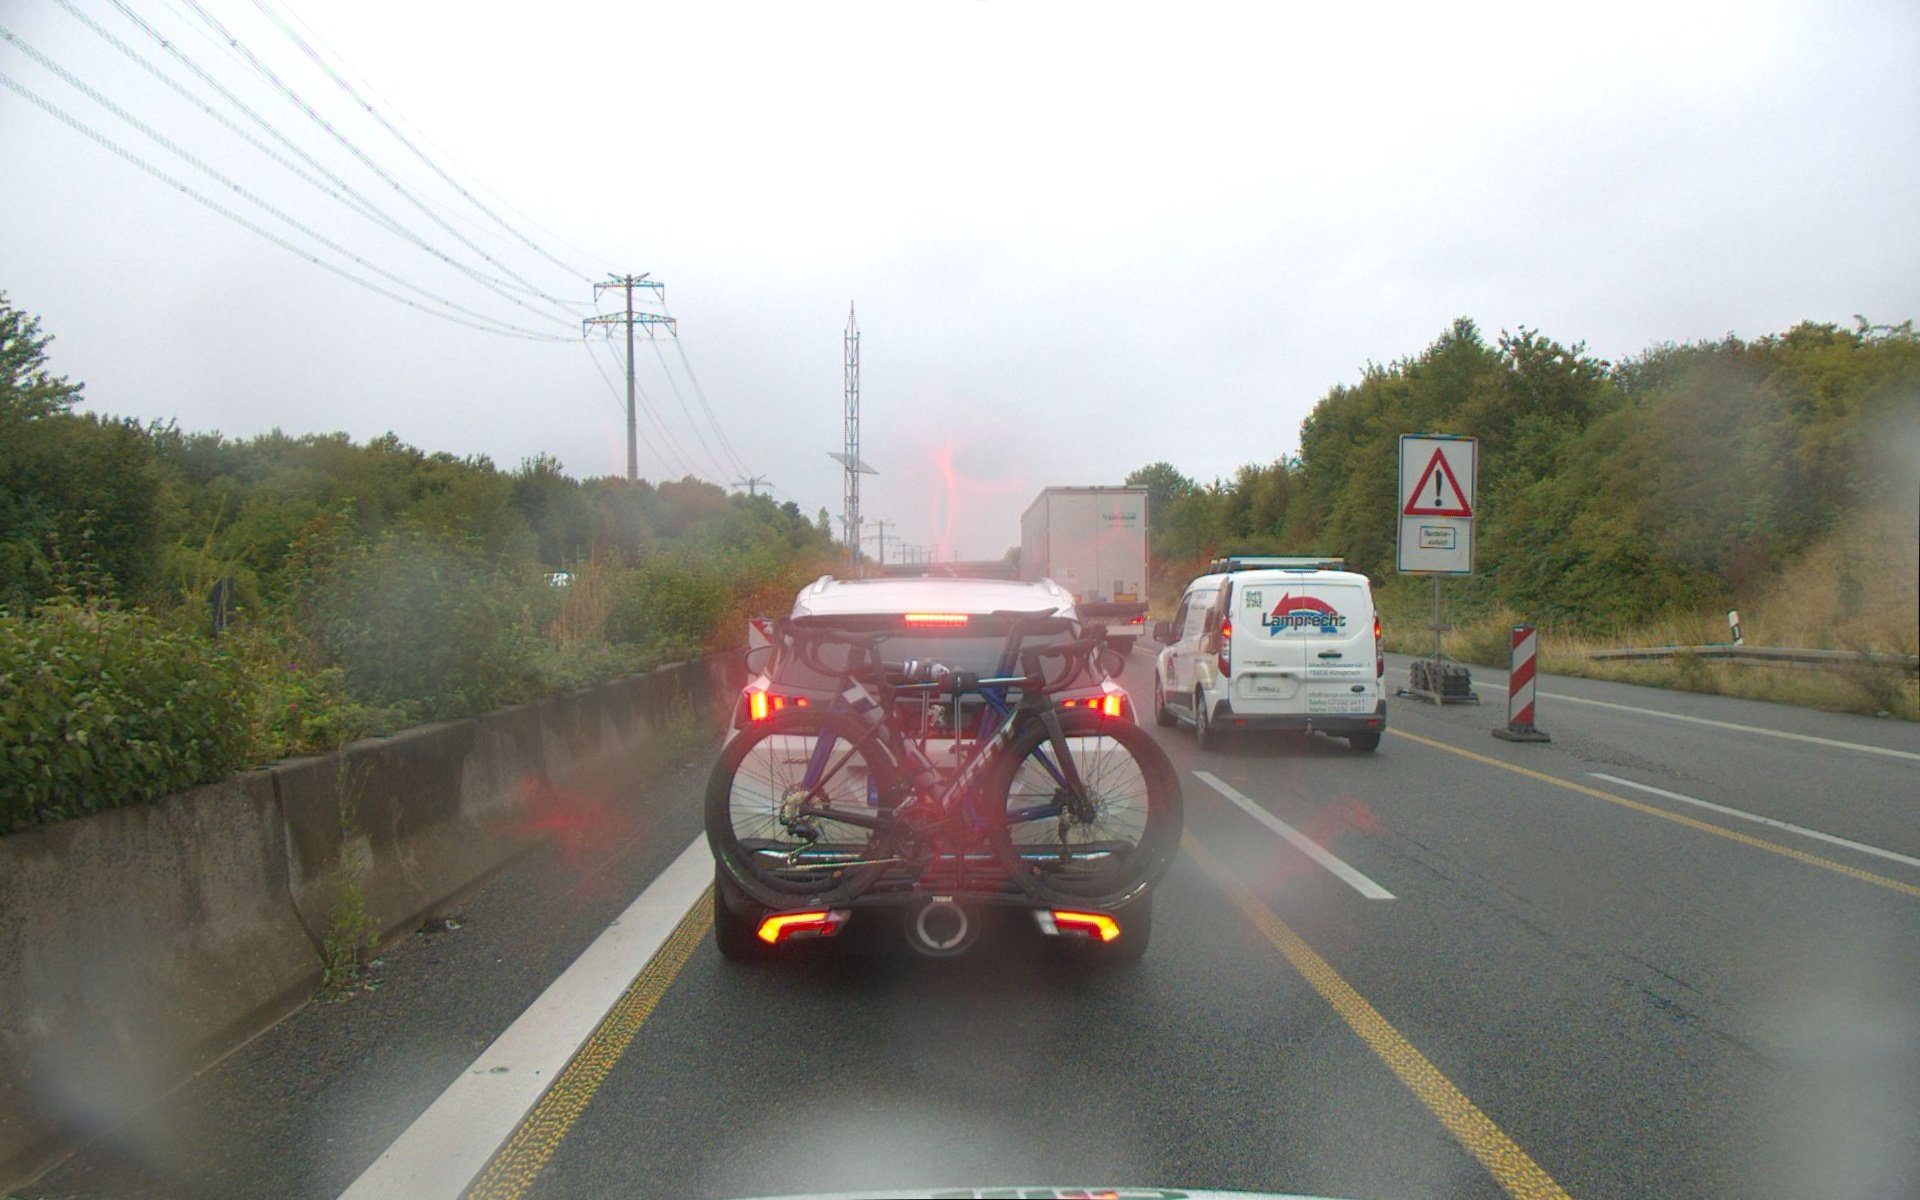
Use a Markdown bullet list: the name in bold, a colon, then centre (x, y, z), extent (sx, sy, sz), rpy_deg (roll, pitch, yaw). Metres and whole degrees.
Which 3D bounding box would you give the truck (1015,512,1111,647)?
- **truck**: centre (3.259, -0.641, 53.934), extent (2.606, 4.148, 6.538), rpy_deg (0, 0, -1)

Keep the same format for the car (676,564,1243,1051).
- **car**: centre (-0.031, 0.657, 7.693), extent (1.812, 1.557, 4.768), rpy_deg (0, 0, -1)

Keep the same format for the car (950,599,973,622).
- **car**: centre (0.139, 0.936, 154.160), extent (2.104, 2.008, 4.000), rpy_deg (0, 1, -1)

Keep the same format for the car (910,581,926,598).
- **car**: centre (-4.931, -1.208, 195.116), extent (1.892, 1.944, 4.000), rpy_deg (0, 1, -1)

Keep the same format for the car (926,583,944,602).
- **car**: centre (-2.625, -0.802, 175.451), extent (1.892, 2.008, 4.000), rpy_deg (0, 1, -1)

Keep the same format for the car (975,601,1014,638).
- **car**: centre (1.972, 1.093, 95.567), extent (2.067, 2.008, 4.000), rpy_deg (0, 1, -1)

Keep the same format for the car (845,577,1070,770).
- **car**: centre (-0.046, 0.585, 15.368), extent (1.812, 1.557, 3.999), rpy_deg (0, 0, -1)

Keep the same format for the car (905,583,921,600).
- **car**: centre (-5.686, -1.046, 202.138), extent (1.892, 2.008, 4.000), rpy_deg (0, 1, -1)

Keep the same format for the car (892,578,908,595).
- **car**: centre (-8.780, -1.991, 241.858), extent (2.212, 2.467, 4.000), rpy_deg (0, 1, -1)

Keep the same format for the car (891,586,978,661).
- **car**: centre (-0.555, 0.478, 36.569), extent (1.812, 1.557, 3.999), rpy_deg (0, 0, -1)

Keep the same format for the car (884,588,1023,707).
- **car**: centre (-0.111, 0.617, 23.693), extent (1.812, 1.557, 3.999), rpy_deg (0, 0, -1)

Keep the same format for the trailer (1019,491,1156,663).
- **trailer**: centre (3.343, -0.593, 46.919), extent (2.638, 4.148, 13.631), rpy_deg (0, 0, -1)

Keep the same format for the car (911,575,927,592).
- **car**: centre (-5.158, -2.078, 208.000), extent (1.892, 2.008, 4.000), rpy_deg (0, 1, -1)

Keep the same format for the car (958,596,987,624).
- **car**: centre (0.915, 0.743, 125.164), extent (2.104, 2.008, 4.000), rpy_deg (0, 1, -1)

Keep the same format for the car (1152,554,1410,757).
- **car**: centre (3.255, 0.506, 17.709), extent (1.792, 1.871, 4.654), rpy_deg (0, 0, -1)

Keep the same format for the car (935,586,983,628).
- **car**: centre (-0.073, 0.253, 64.482), extent (1.812, 1.557, 3.999), rpy_deg (0, 0, -1)

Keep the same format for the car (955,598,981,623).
- **car**: centre (0.666, 0.884, 140.325), extent (2.104, 2.008, 4.000), rpy_deg (0, 1, -1)

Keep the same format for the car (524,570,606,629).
- **car**: centre (-16.032, -0.039, 67.409), extent (2.136, 2.304, 5.203), rpy_deg (0, 0, -1)
